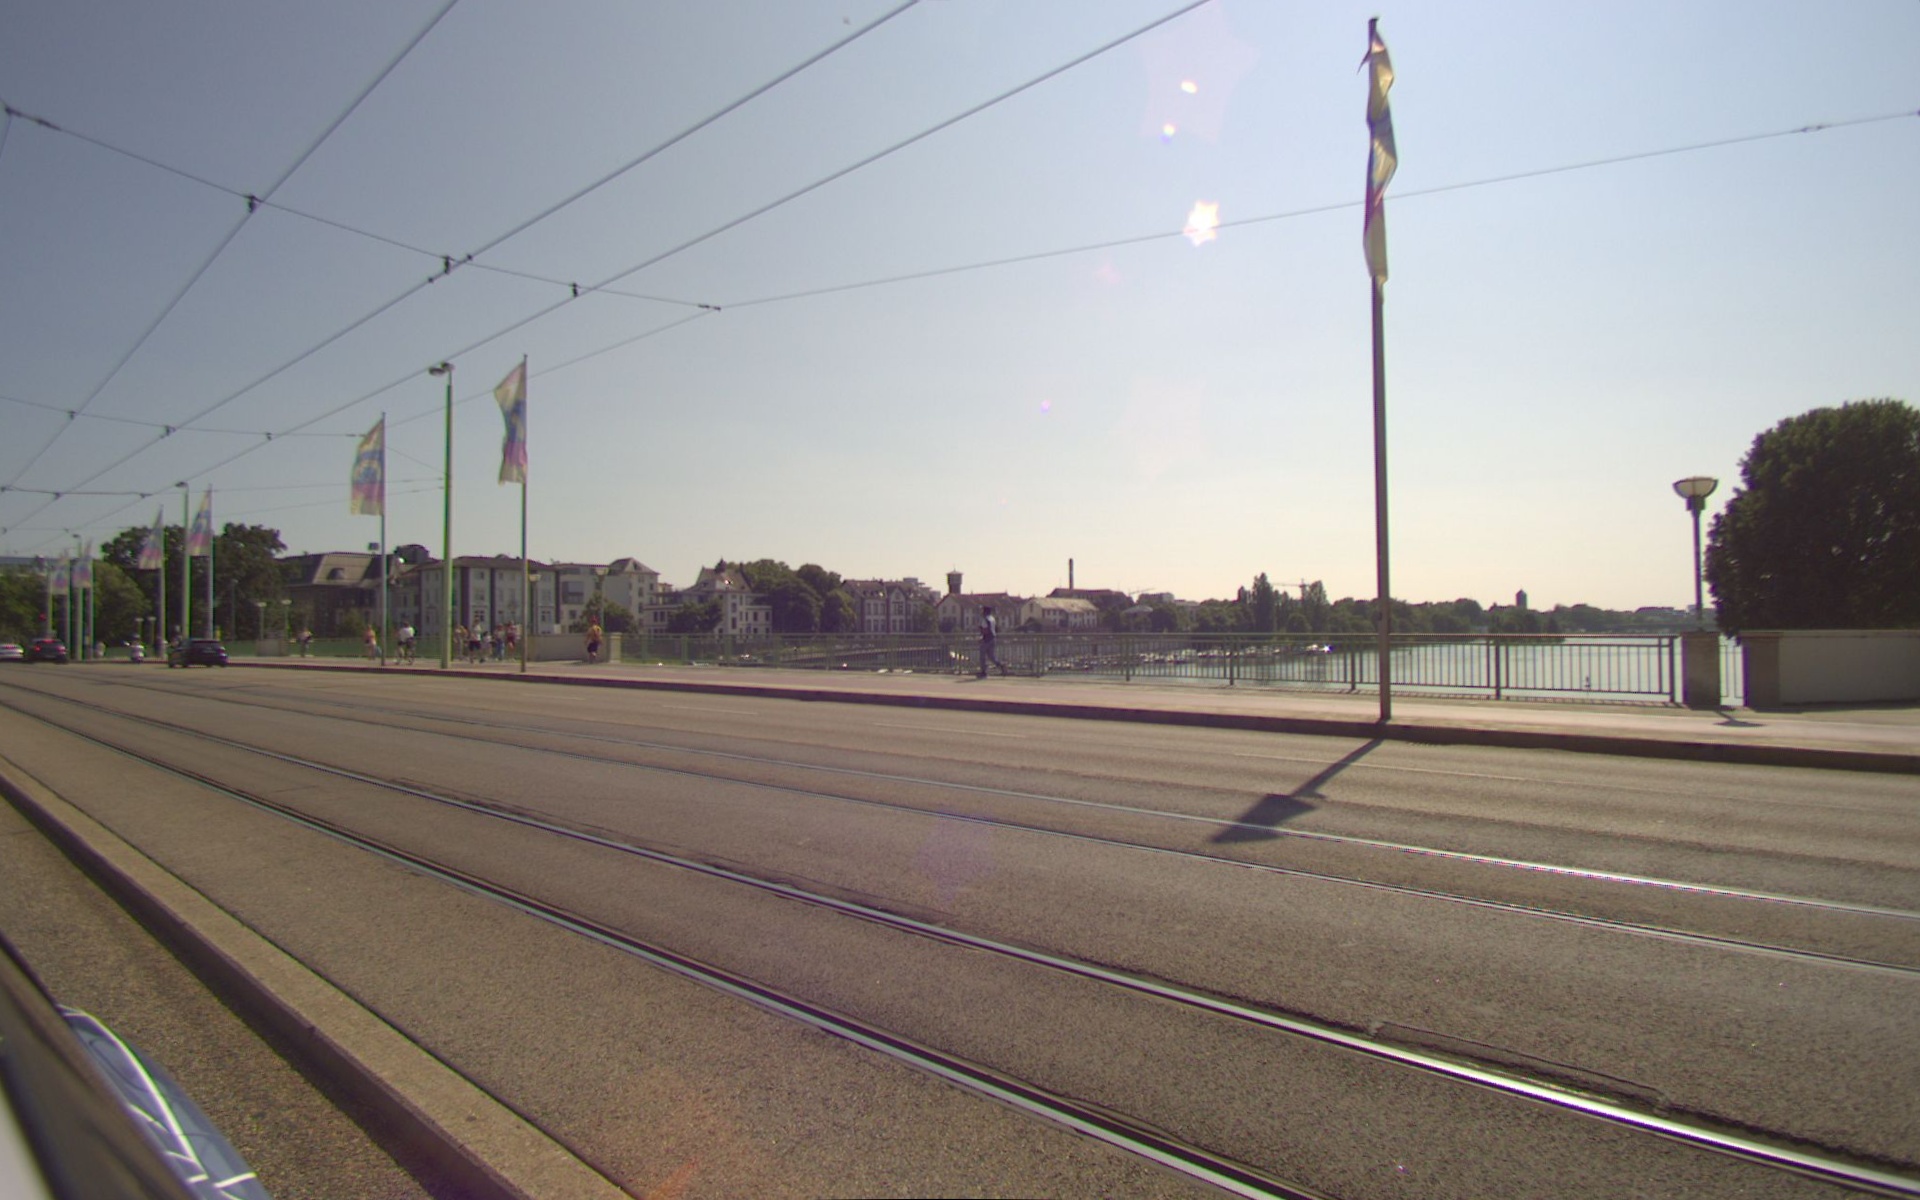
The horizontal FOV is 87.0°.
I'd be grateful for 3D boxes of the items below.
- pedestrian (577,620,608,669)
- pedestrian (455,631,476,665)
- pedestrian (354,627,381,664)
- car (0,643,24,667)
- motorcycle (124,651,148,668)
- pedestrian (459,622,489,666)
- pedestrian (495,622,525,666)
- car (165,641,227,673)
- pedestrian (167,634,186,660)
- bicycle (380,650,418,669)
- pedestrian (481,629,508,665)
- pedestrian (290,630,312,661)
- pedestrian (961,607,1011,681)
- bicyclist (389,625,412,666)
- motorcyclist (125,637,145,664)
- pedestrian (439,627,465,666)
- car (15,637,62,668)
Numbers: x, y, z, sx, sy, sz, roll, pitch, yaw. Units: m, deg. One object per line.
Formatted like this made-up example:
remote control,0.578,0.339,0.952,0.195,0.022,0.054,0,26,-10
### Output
pedestrian,-13.197,1.599,36.376,1.022,1.712,0.584,-2,0,41
pedestrian,-21.660,2.076,44.335,0.788,1.448,0.540,-2,0,41
pedestrian,-28.270,2.167,48.306,1.022,1.712,0.777,-2,0,41
car,-71.986,4.114,76.190,3.999,1.632,1.790,-2,2,42
motorcycle,-48.212,3.448,59.213,2.144,0.895,0.725,-2,2,41
pedestrian,-19.305,1.743,40.201,1.022,1.712,0.663,-2,0,41
pedestrian,-18.281,1.780,41.105,1.022,1.703,0.677,-2,0,41
car,-37.409,2.763,49.522,3.999,1.447,1.650,-1,-2,42
pedestrian,-53.821,3.217,69.515,1.022,1.712,0.777,-2,0,41
bicycle,-22.702,2.395,40.944,2.172,0.721,0.658,-2,-2,42
pedestrian,-18.739,1.878,40.721,1.022,1.425,0.584,-2,0,41
pedestrian,-37.765,2.601,58.020,1.022,1.712,0.777,-2,0,41
pedestrian,0.624,1.049,24.290,1.022,1.712,0.584,-2,0,41
bicyclist,-22.601,1.829,40.864,0.621,1.663,0.657,-2,-2,42
motorcyclist,-48.277,2.949,59.239,0.728,1.524,0.730,-2,2,41
pedestrian,-21.945,2.008,43.730,1.022,1.611,0.619,-2,0,41
car,-57.568,3.234,63.188,3.999,1.709,1.692,-2,2,42
